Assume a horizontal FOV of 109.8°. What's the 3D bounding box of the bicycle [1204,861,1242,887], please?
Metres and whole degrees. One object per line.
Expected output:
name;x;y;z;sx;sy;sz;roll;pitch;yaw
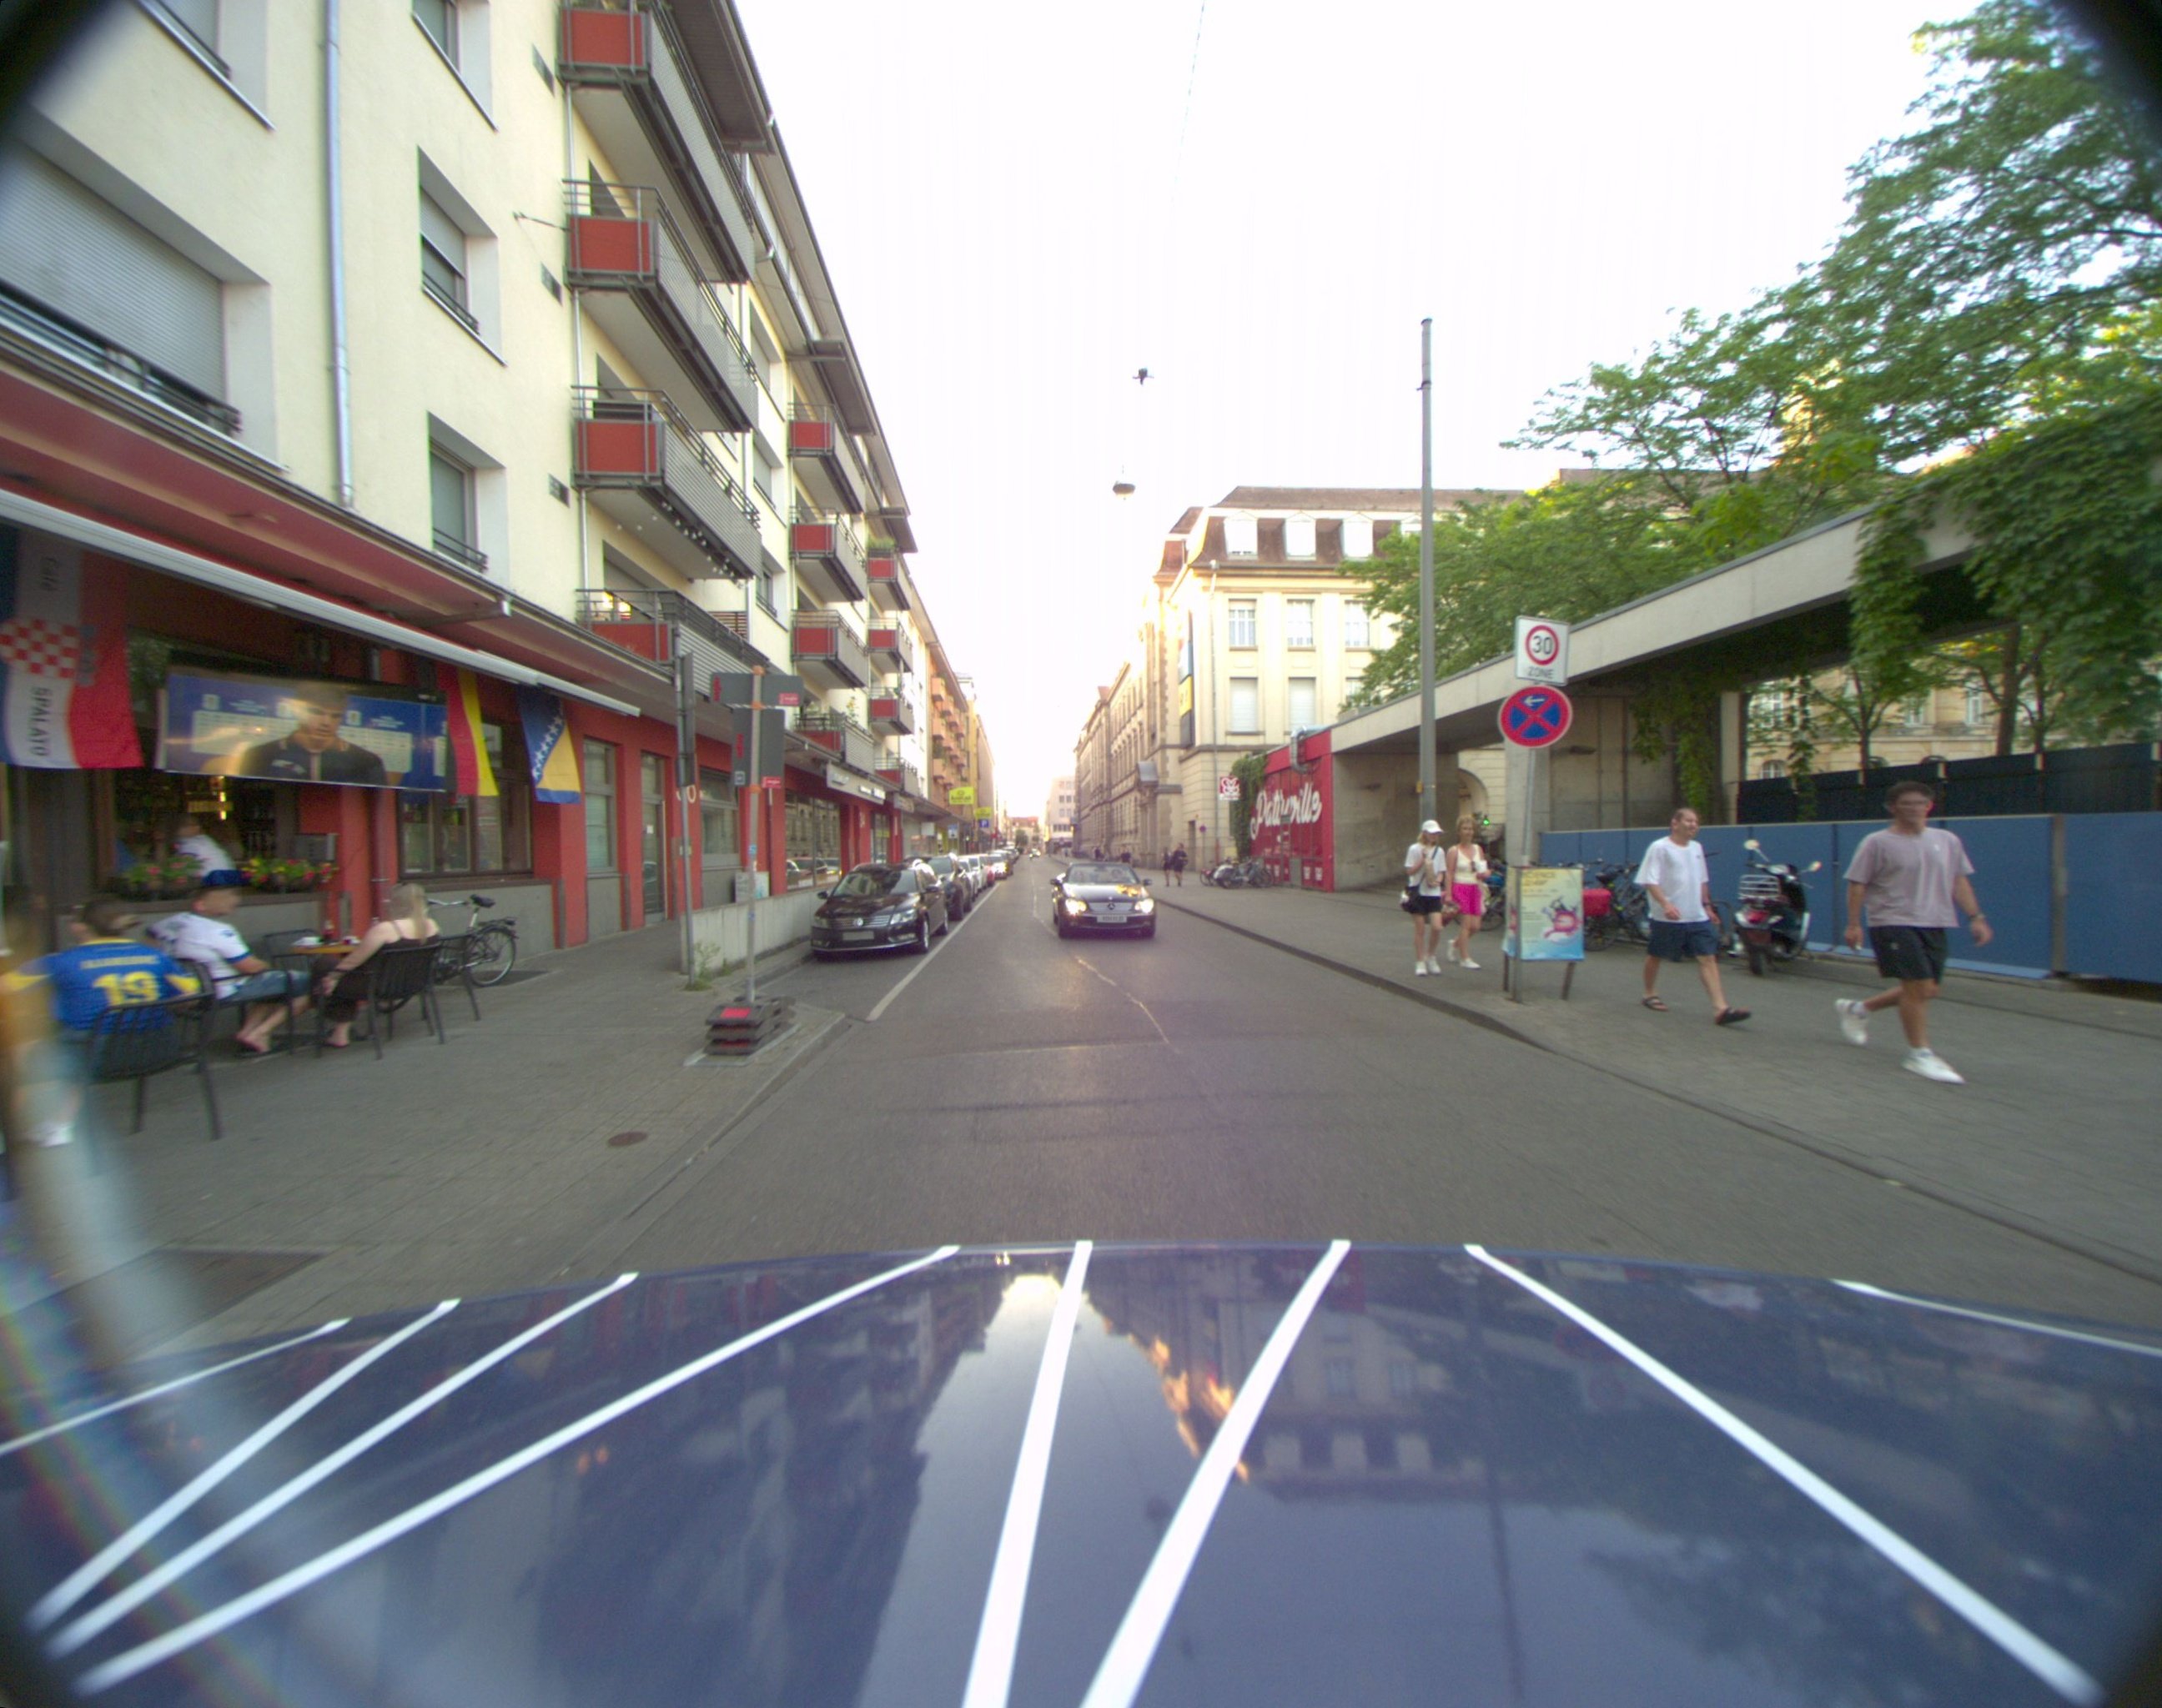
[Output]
bicycle;5.791;0.799;30.938;1.501;0.973;0.312;-3;1;-12

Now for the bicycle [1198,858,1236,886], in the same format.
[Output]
bicycle;5.671;0.745;31.595;1.501;1.070;0.312;-3;1;-12

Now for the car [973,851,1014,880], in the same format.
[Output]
car;-4.945;0.623;43.314;1.897;1.468;4.299;-2;1;-1

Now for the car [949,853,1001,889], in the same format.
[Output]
car;-4.865;0.728;35.447;1.867;1.468;4.393;-2;1;-1

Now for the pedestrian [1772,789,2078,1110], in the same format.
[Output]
pedestrian;5.438;0.569;4.971;0.984;1.873;0.890;-2;1;-2

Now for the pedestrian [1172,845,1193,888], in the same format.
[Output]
pedestrian;4.175;0.507;31.252;0.832;1.717;0.921;-1;1;7

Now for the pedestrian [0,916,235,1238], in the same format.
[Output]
pedestrian;-5.016;1.007;3.712;0.876;1.298;0.854;1;2;16

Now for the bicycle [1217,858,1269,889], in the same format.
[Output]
bicycle;6.023;0.726;28.262;1.844;1.077;0.354;-2;1;2

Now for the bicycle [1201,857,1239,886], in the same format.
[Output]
bicycle;5.710;0.723;31.252;1.501;1.134;0.312;-3;1;-12

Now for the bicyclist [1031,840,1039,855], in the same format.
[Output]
bicyclist;-6.353;-0.870;104.938;1.045;2.002;1.182;-1;1;-2

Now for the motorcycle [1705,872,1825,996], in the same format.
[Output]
motorcycle;7.415;0.806;8.209;1.832;1.120;0.535;-3;1;-35

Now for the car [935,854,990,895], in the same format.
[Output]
car;-4.779;0.784;31.203;1.768;1.468;3.946;-2;1;-3

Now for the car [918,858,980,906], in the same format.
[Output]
car;-4.400;0.894;25.833;1.753;1.395;3.965;-2;1;-6

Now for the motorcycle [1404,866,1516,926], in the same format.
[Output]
motorcycle;7.067;0.791;14.247;1.824;1.063;0.534;-2;1;25

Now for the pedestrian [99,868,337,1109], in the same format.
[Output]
pedestrian;-6.095;0.887;5.438;0.854;1.527;0.713;-3;1;-26

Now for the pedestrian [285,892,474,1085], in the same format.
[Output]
pedestrian;-5.305;0.969;5.820;0.854;1.271;0.712;-1;3;-26

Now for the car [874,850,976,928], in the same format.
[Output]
car;-3.817;0.789;19.299;1.884;1.690;4.136;-2;1;-3

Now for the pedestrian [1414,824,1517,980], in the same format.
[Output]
pedestrian;4.613;0.553;9.155;0.812;1.783;0.736;-2;1;-2

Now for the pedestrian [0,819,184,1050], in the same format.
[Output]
pedestrian;-7.853;0.602;6.044;0.612;1.729;0.617;-2;1;-5

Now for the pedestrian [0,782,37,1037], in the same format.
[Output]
pedestrian;-9.210;0.457;5.827;1.150;2.002;1.152;-1;1;25

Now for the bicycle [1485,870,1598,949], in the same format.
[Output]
bicycle;6.904;0.815;11.397;1.497;1.082;0.410;-2;1;-7

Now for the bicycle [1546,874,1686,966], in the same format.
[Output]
bicycle;6.964;0.841;9.910;1.497;1.082;0.547;-2;1;-7

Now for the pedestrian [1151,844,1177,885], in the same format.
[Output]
pedestrian;3.503;0.435;32.101;0.921;1.717;0.702;-2;1;-8

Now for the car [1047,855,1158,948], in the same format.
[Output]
car;0.291;0.773;14.630;1.809;1.400;4.615;0;1;-2

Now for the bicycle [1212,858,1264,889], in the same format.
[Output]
bicycle;5.923;0.734;28.709;1.844;1.077;0.354;-2;1;2

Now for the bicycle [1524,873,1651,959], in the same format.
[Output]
bicycle;6.905;0.835;10.373;1.497;1.063;0.442;-2;1;-7

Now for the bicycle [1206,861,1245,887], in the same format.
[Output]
bicycle;5.833;0.798;30.629;1.501;0.950;0.312;-3;1;-12

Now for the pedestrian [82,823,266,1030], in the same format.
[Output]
pedestrian;-7.938;0.602;6.686;0.718;1.711;0.668;-2;1;-5

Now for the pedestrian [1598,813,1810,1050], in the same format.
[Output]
pedestrian;5.099;0.591;6.288;0.984;1.783;0.890;-2;1;-2

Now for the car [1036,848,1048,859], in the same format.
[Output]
car;-7.505;-0.066;147.601;1.998;2.002;3.999;-1;1;1

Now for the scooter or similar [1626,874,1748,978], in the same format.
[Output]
scooter or similar;7.182;0.821;8.995;1.499;1.082;0.410;-3;1;-21

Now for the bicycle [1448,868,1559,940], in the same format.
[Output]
bicycle;6.790;0.800;12.233;1.496;1.082;0.436;-2;1;3

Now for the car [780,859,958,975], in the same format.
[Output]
car;-3.470;0.940;13.411;1.879;1.543;4.629;-2;1;-1

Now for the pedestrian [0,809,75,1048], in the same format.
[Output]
pedestrian;-8.319;0.556;5.699;0.612;1.767;0.617;-2;1;-7

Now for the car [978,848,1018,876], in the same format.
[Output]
car;-5.283;0.483;49.026;1.998;1.607;4.366;-2;1;1

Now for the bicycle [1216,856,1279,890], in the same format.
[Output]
bicycle;6.109;0.696;27.898;2.180;1.149;0.445;-2;1;2

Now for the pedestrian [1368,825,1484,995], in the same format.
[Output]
pedestrian;3.856;0.595;8.565;0.851;1.783;0.869;-2;1;-2

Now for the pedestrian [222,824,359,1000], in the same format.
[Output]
pedestrian;-9.367;0.661;9.037;0.669;2.002;0.815;-1;1;7

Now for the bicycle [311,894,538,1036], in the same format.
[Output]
bicycle;-6.340;1.004;7.513;0.550;1.081;2.005;-2;1;-4

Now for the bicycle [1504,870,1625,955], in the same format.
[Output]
bicycle;6.845;0.811;10.767;1.497;1.105;0.410;-2;1;-7

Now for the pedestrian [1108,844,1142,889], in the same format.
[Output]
pedestrian;1.849;0.523;32.165;1.009;1.816;0.944;-3;1;-27

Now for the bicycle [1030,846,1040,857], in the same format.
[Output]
bicycle;-6.348;-0.342;105.053;1.038;1.513;2.821;-1;1;1

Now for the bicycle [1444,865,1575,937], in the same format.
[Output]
bicycle;7.187;0.774;12.773;1.872;1.081;0.550;-2;1;-2
